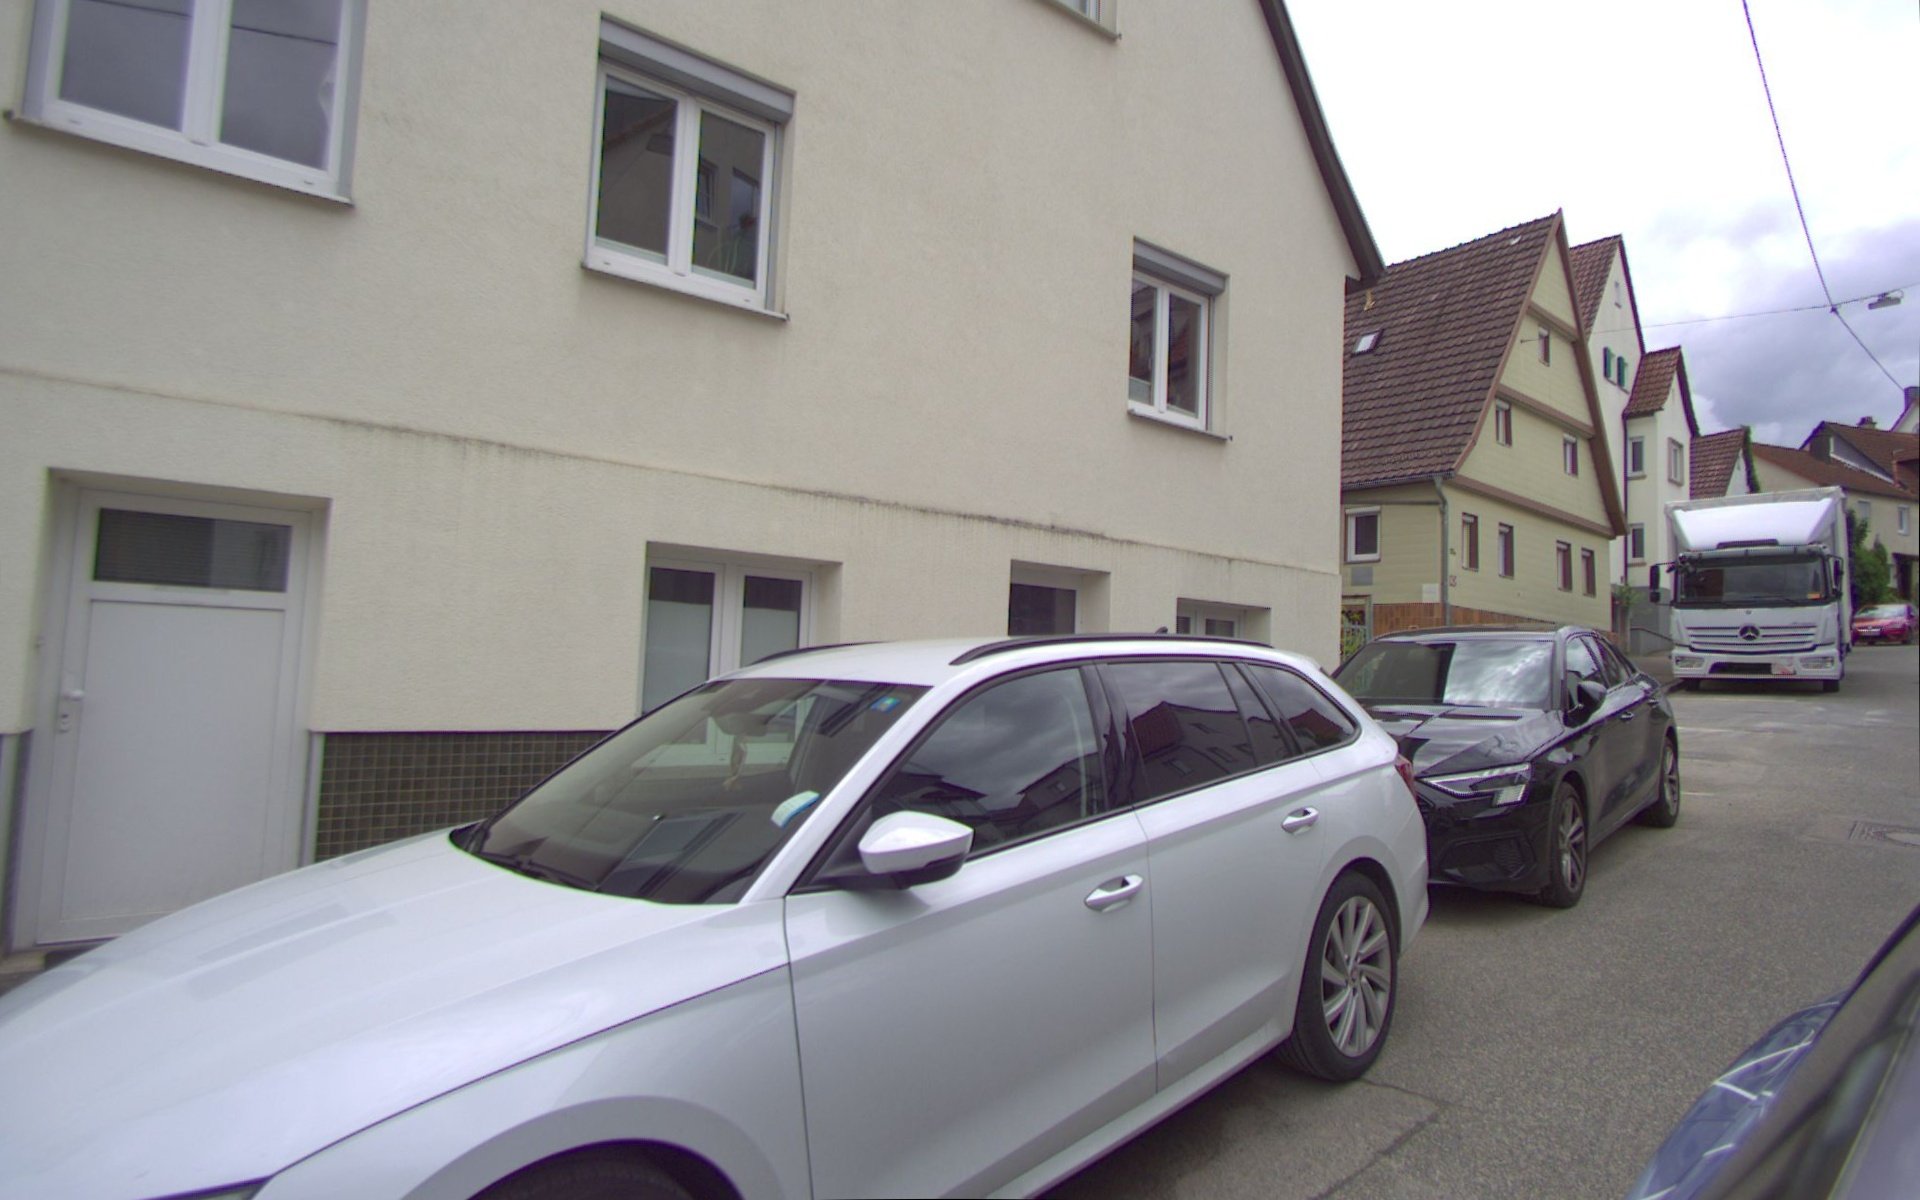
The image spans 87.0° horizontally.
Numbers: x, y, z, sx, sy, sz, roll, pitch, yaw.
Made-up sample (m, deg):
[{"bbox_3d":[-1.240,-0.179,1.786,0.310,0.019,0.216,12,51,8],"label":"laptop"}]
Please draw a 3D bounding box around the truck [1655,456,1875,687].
[{"bbox_3d":[15.977,-0.431,19.839,2.673,3.644,7.982,-4,-2,42],"label":"truck"}]

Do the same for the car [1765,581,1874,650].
[{"bbox_3d":[25.196,0.438,29.613,4.231,1.838,1.836,0,-3,-43],"label":"car"}]

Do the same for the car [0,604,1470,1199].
[{"bbox_3d":[-0.281,0.809,3.024,4.225,1.464,1.796,-1,-3,-43],"label":"car"}]

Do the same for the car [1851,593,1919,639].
[{"bbox_3d":[32.693,0.531,35.163,3.778,1.471,1.684,-1,-3,-35],"label":"car"}]

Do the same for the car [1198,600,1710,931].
[{"bbox_3d":[3.362,0.774,6.492,3.985,1.427,1.674,0,-3,-45],"label":"car"}]
